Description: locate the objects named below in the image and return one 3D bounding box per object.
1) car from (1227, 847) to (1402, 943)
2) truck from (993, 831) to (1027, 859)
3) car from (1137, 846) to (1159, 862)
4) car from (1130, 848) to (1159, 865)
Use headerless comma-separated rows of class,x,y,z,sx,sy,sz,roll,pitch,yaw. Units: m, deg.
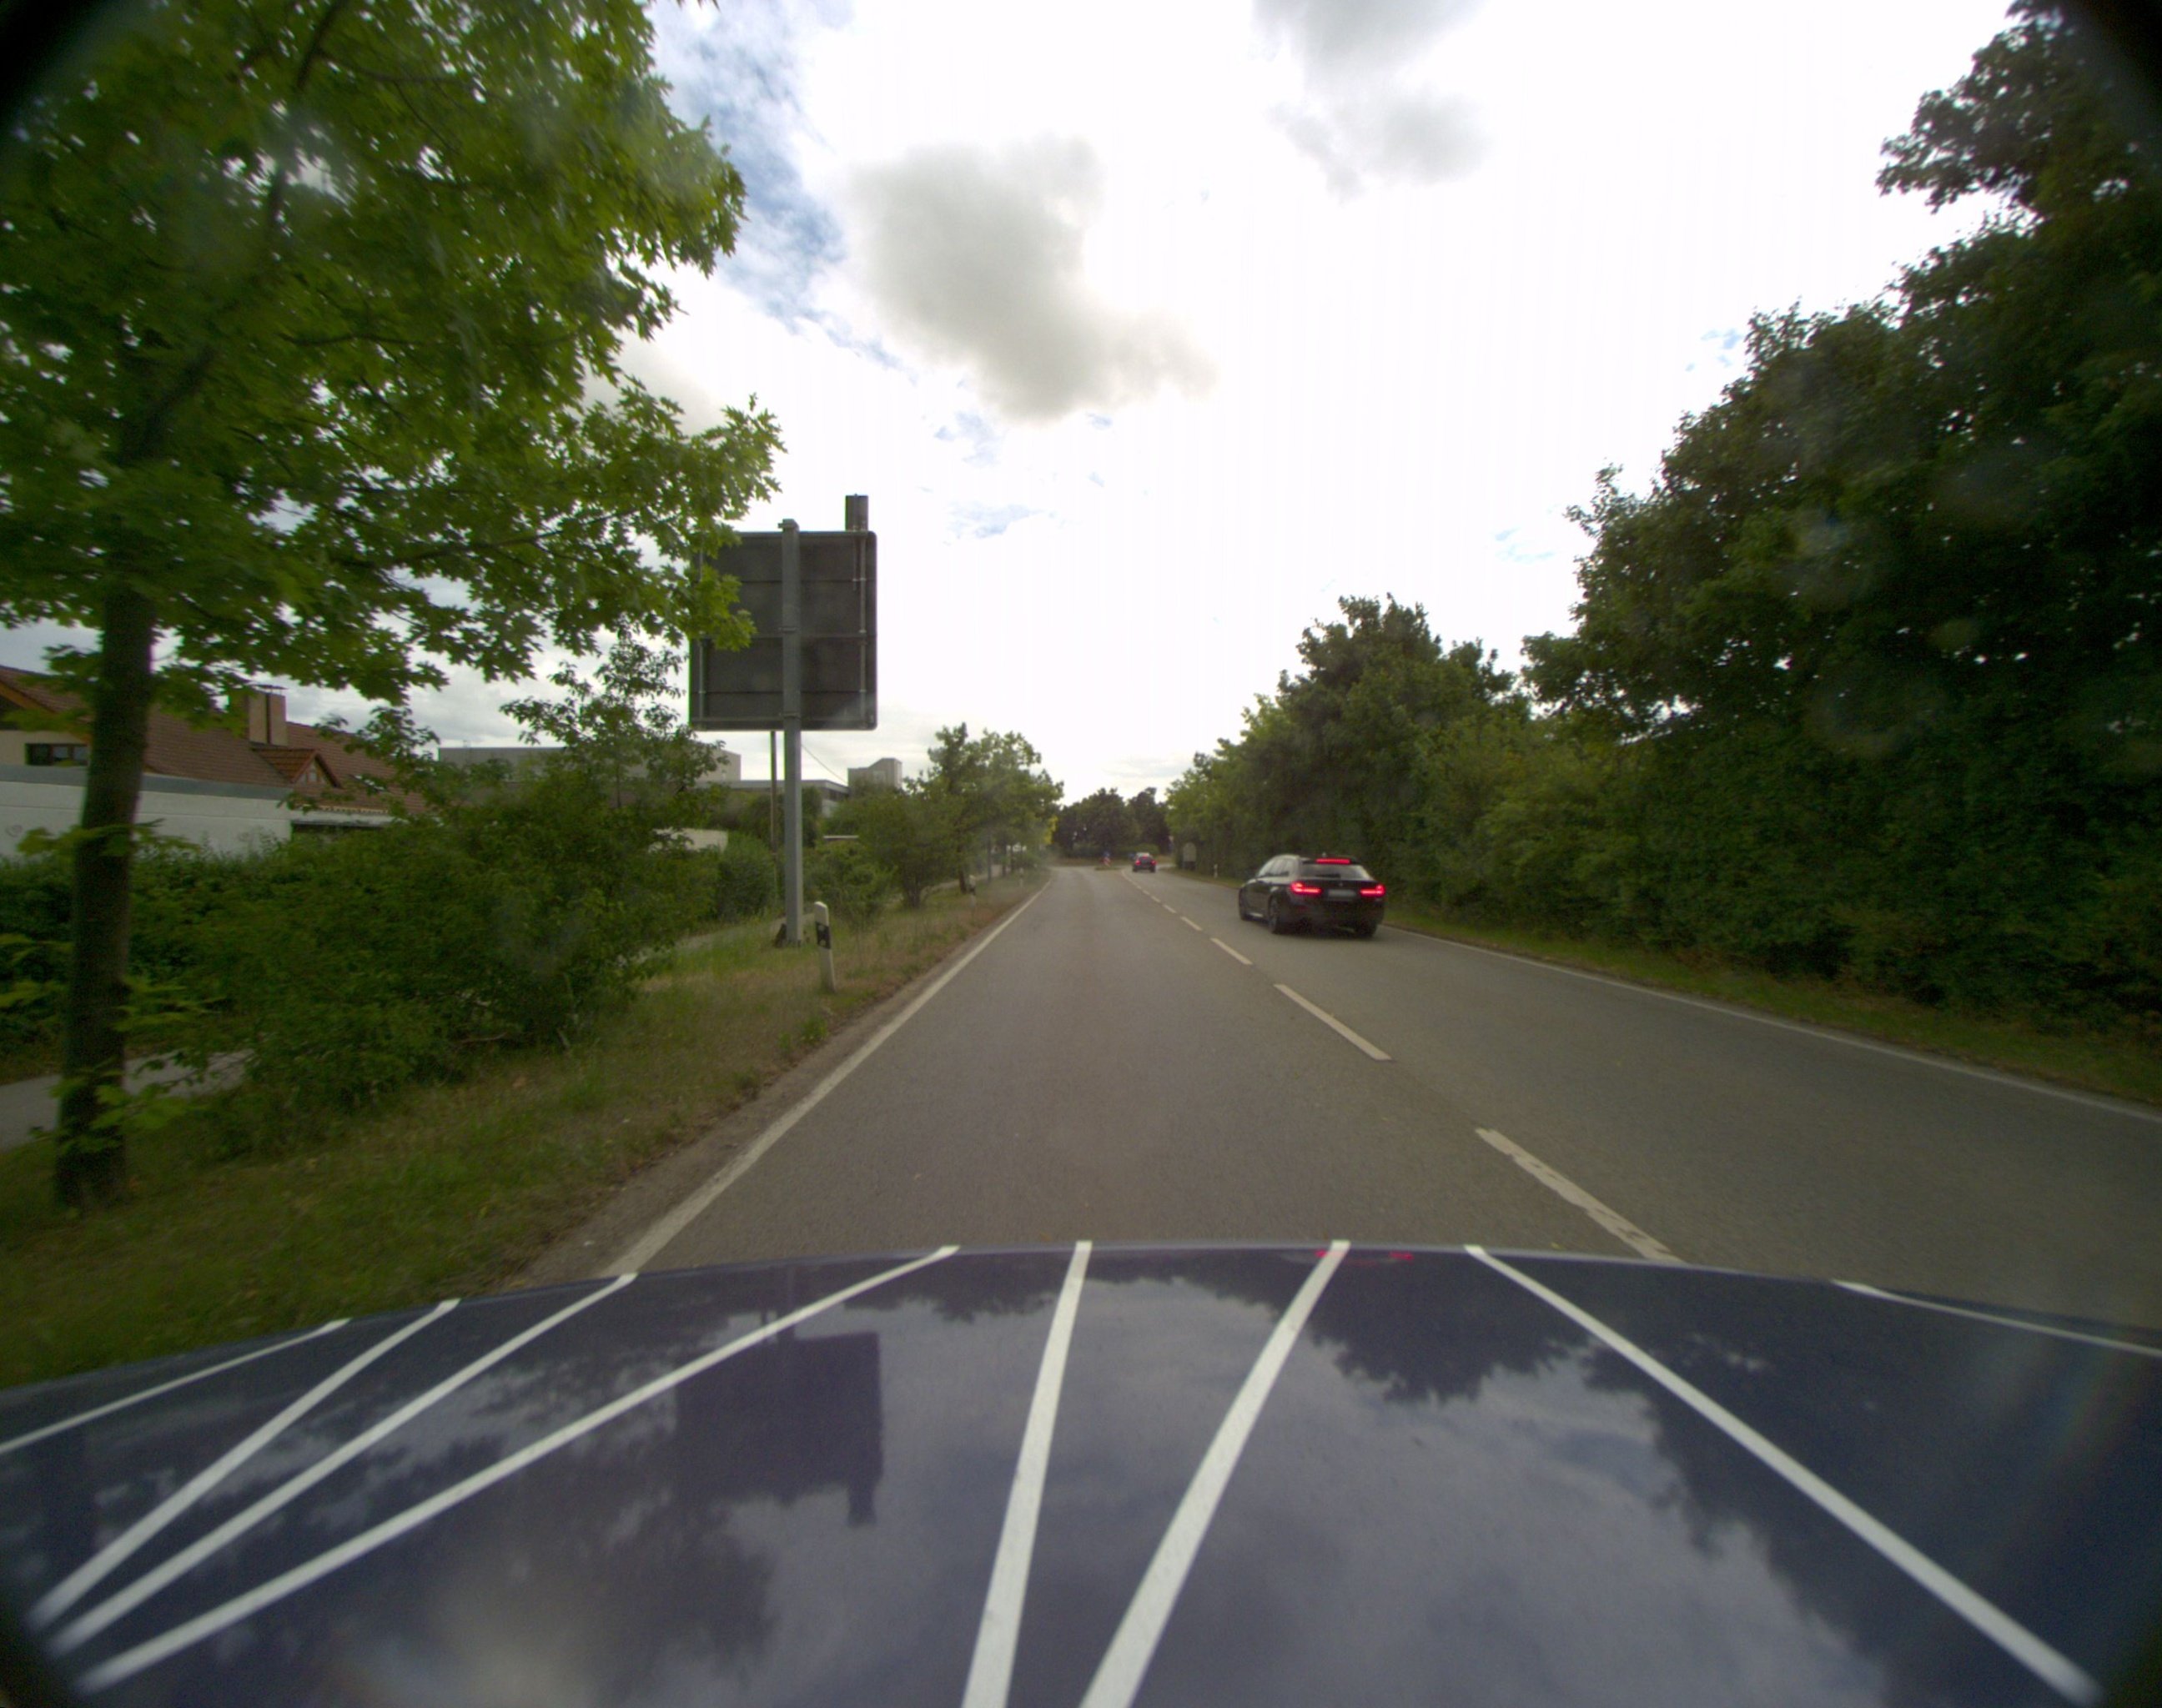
car,4.349,0.664,15.019,1.945,1.577,4.554,1,1,-1
truck,-9.164,-1.092,97.476,2.618,3.428,7.495,-2,1,-18
car,6.801,-0.005,77.664,1.998,1.592,4.665,1,1,2
car,5.435,0.213,65.661,1.999,1.411,4.476,1,1,-1
